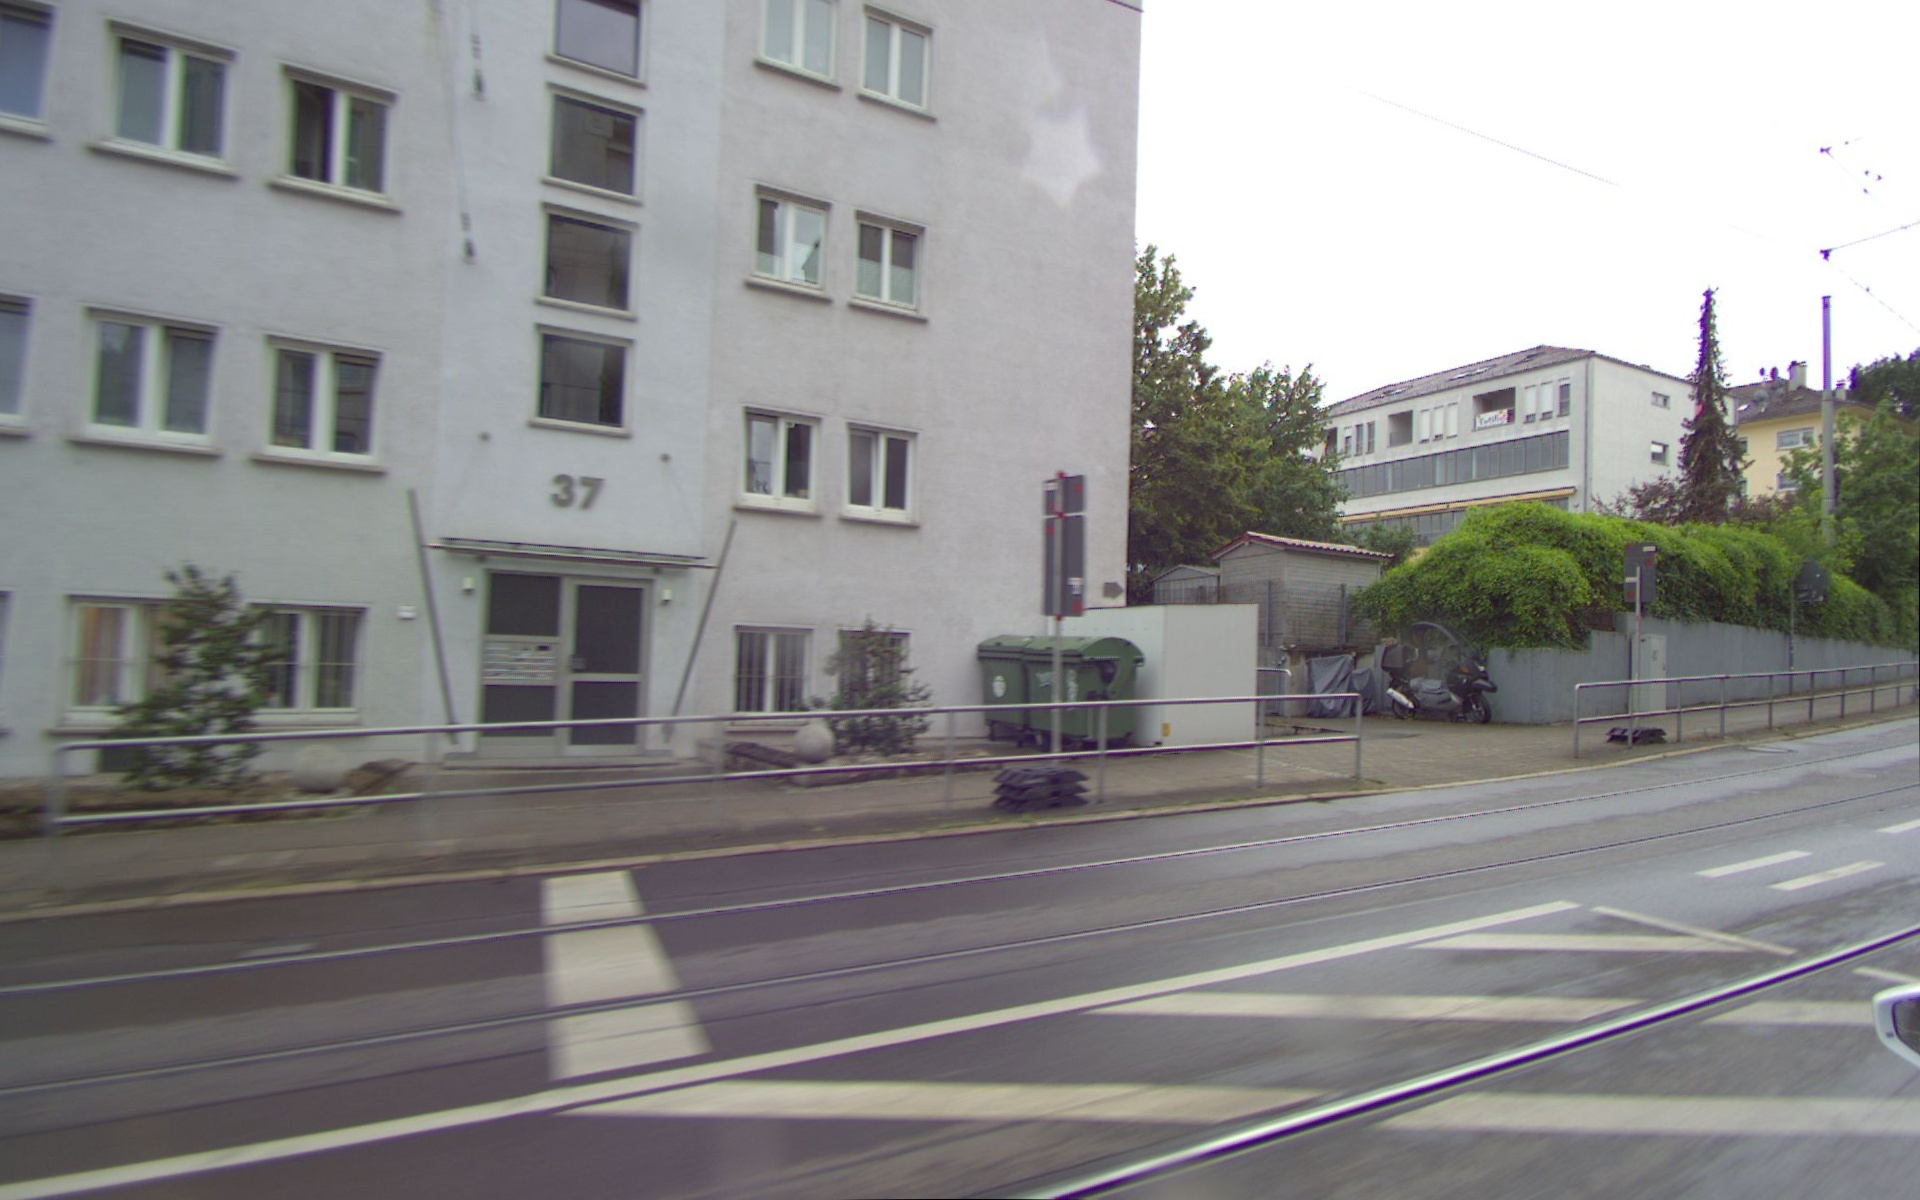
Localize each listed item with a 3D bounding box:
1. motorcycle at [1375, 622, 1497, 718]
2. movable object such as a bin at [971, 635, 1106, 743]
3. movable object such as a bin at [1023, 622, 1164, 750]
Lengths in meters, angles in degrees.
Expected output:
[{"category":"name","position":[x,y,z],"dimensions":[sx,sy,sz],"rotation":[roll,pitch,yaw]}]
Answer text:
[{"category":"motorcycle","position":[8.489,1.234,17.982],"dimensions":[0.589,1.621,1.912],"rotation":[-1,-2,-31]},{"category":"movable object such as a bin","position":[1.057,1.192,13.852],"dimensions":[1.309,1.354,1.363],"rotation":[0,-3,-28]},{"category":"movable object such as a bin","position":[1.659,1.050,12.617],"dimensions":[1.274,1.480,1.181],"rotation":[0,-3,-28]}]
